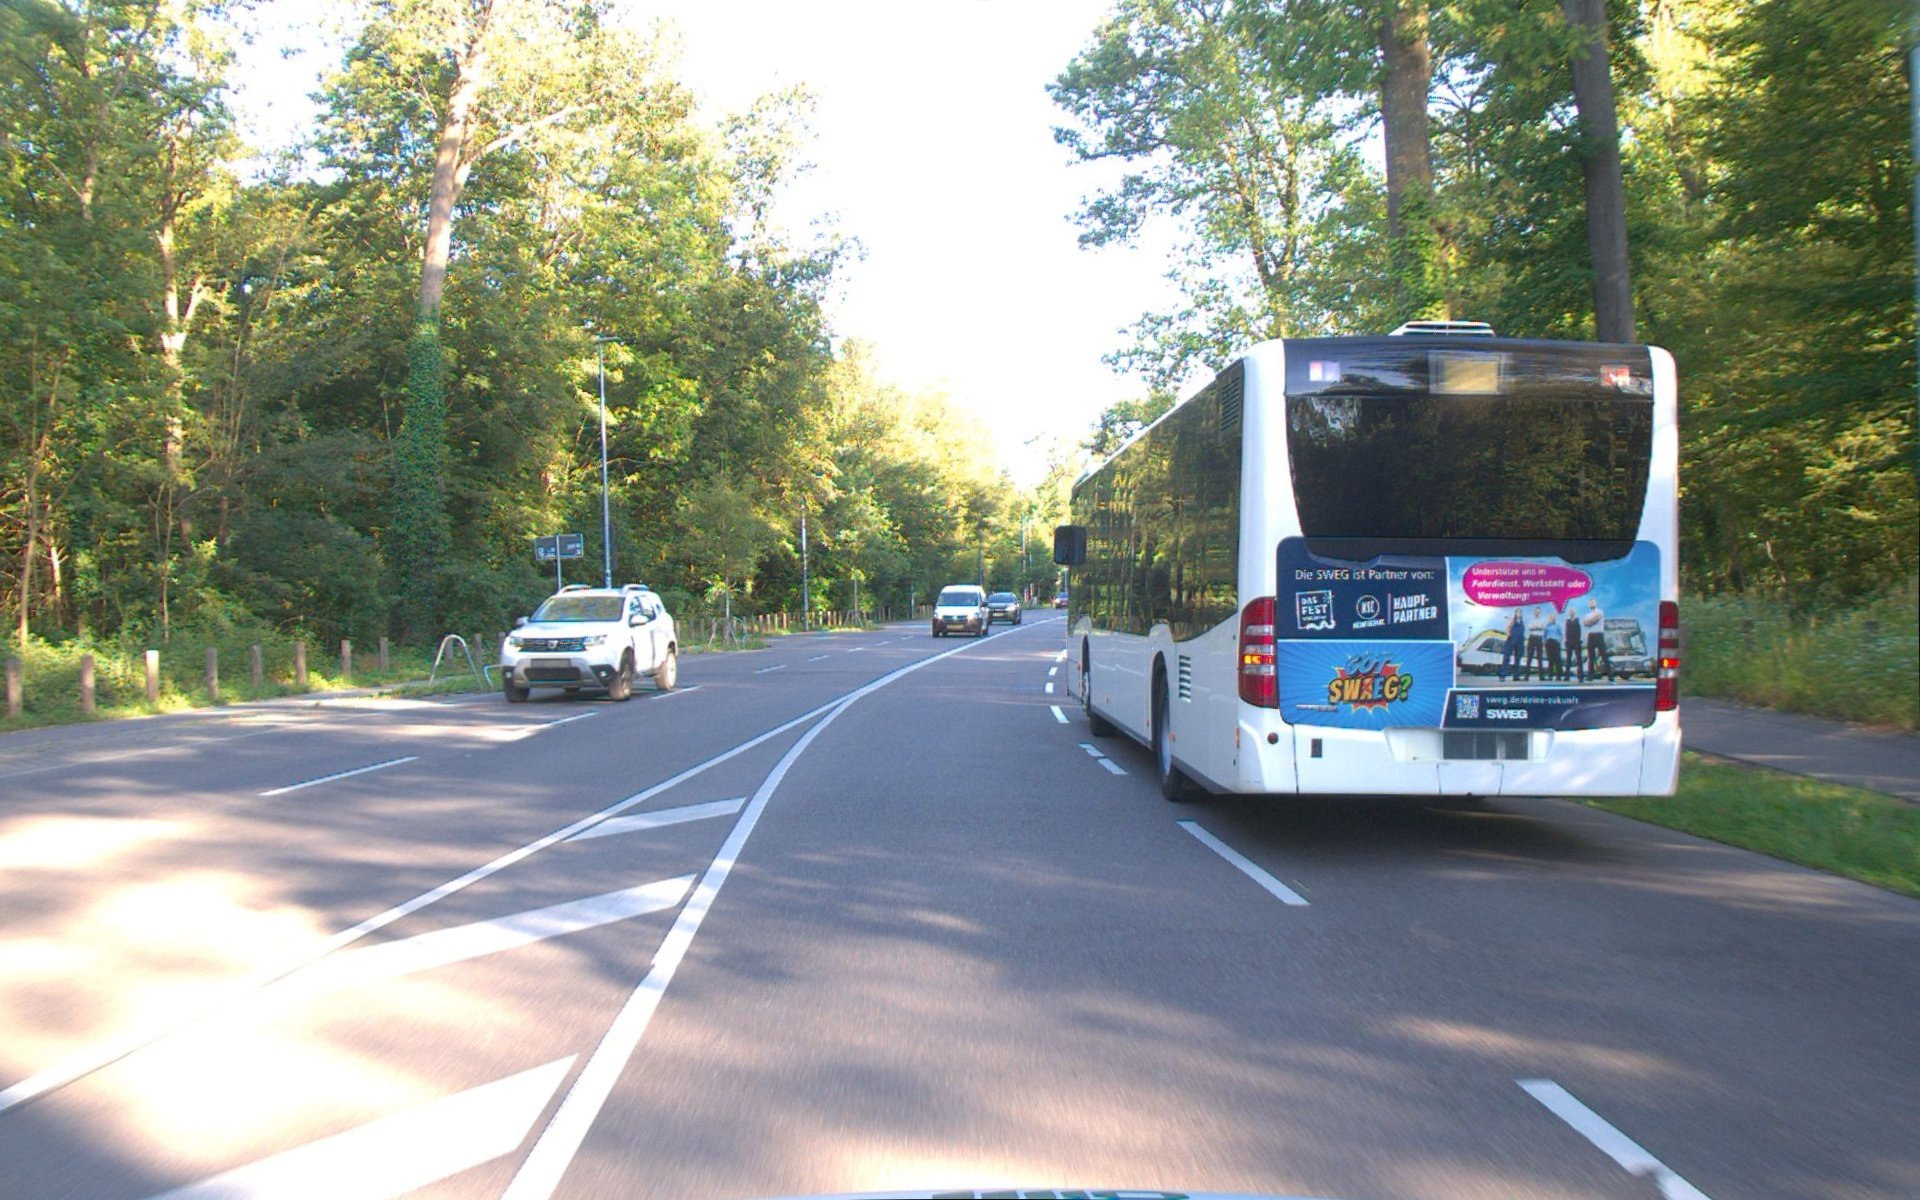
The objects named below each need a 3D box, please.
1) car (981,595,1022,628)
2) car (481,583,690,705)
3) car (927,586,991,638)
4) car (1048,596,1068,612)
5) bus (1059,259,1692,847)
[{"bbox_3d":[2.082,0.546,82.191,1.767,1.572,4.092,-1,0,5],"label":"car"},{"bbox_3d":[-5.605,0.616,25.377,1.952,1.688,4.450,-1,0,3],"label":"car"},{"bbox_3d":[0.016,0.408,59.420,1.865,1.787,4.803,-1,0,5],"label":"car"},{"bbox_3d":[8.980,0.362,152.190,1.785,1.488,4.927,0,0,3],"label":"car"},{"bbox_3d":[2.698,-0.237,15.395,2.649,3.278,12.276,0,0,-1],"label":"bus"}]
